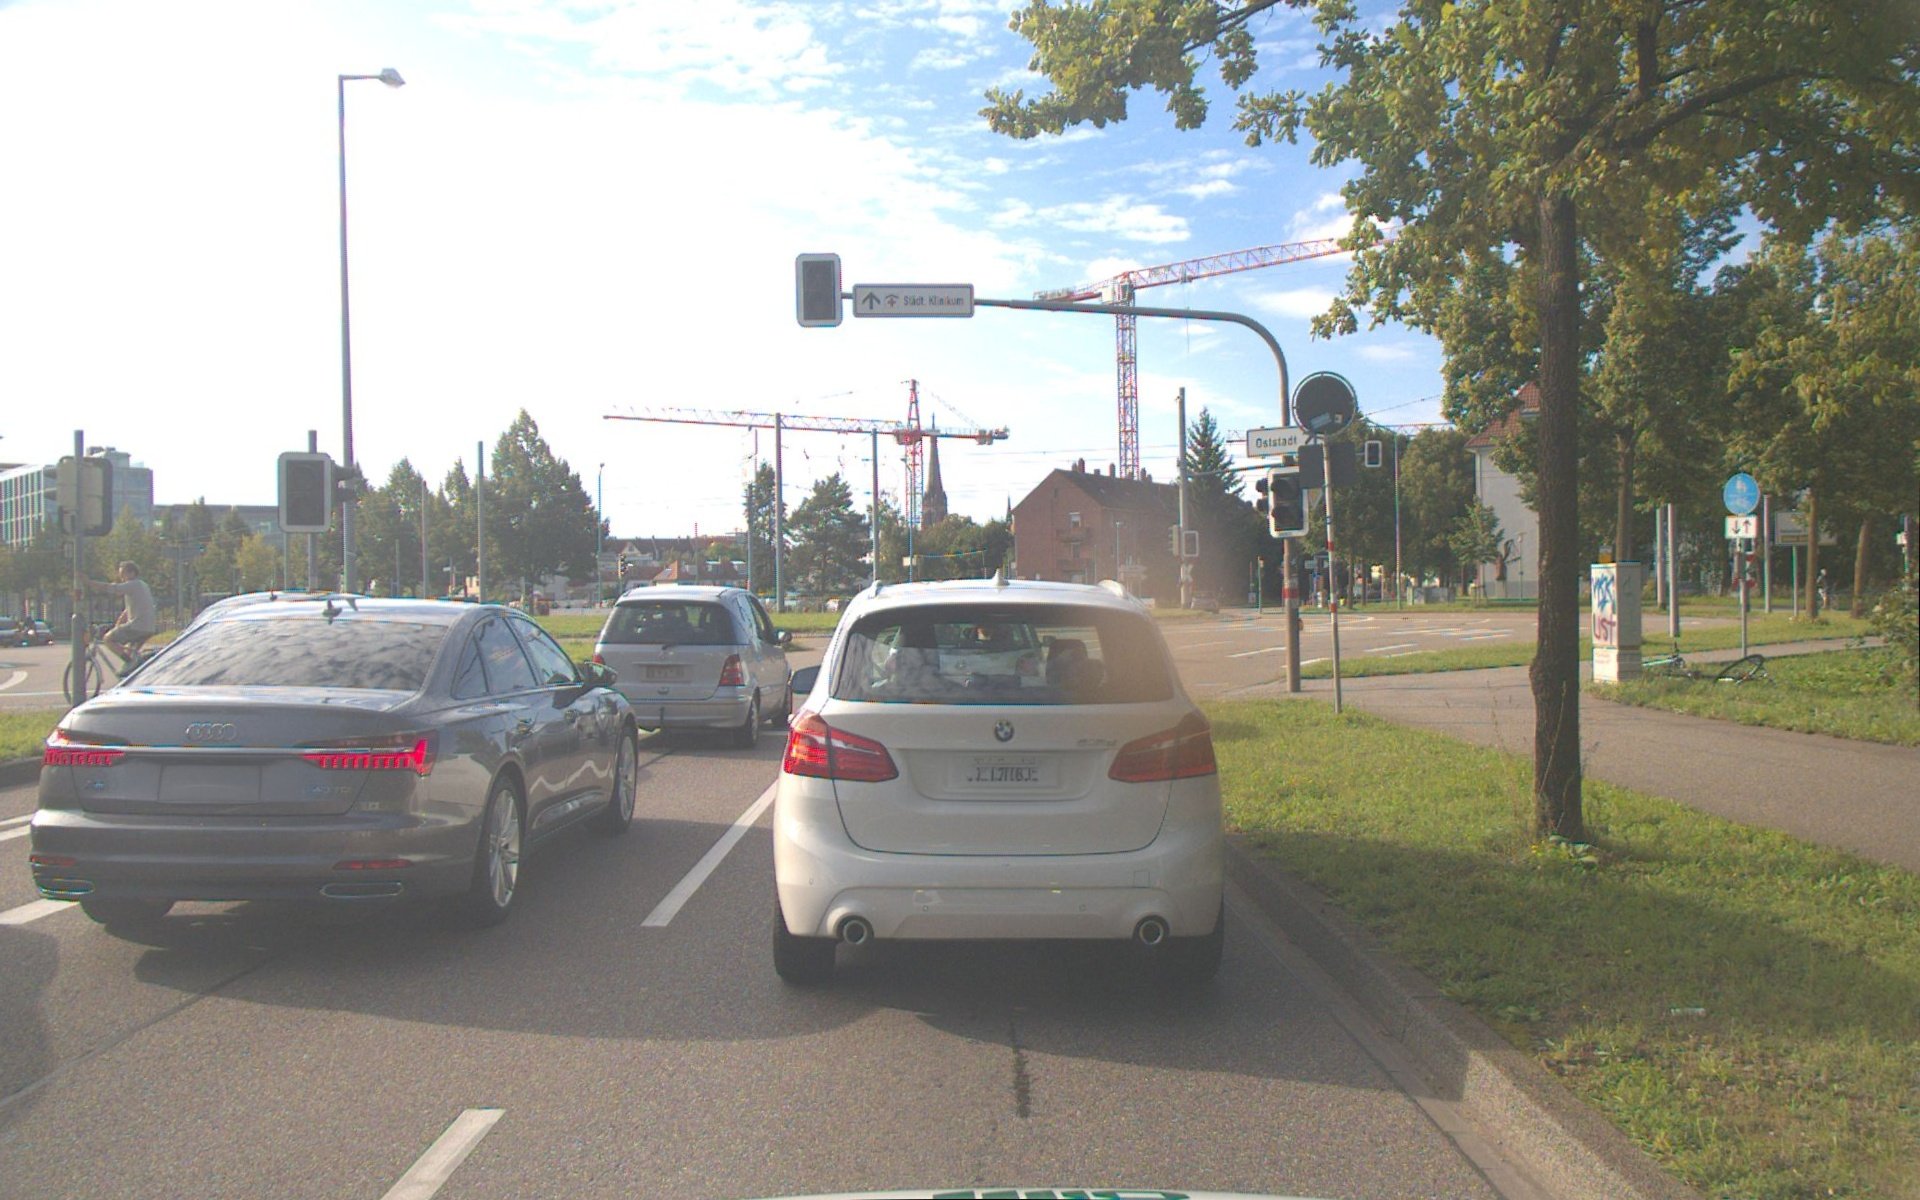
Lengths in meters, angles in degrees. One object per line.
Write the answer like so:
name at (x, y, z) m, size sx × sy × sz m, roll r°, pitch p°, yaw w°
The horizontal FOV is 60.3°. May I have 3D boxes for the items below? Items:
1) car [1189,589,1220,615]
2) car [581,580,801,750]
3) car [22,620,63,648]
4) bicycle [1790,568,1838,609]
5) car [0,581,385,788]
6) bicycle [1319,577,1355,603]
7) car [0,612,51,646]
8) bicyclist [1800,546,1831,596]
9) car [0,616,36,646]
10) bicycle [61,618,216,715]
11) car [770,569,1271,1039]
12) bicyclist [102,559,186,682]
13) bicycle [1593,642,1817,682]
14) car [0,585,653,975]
car at (16.466, 0.135, 111.423) m, size 1.536 × 1.601 × 3.200 m, roll -2°, pitch 1°, yaw 17°
car at (-2.716, 0.603, 17.555) m, size 1.694 × 1.585 × 4.057 m, roll 0°, pitch 0°, yaw -1°
car at (-50.989, 1.897, 91.959) m, size 1.570 × 1.440 × 3.644 m, roll 0°, pitch -2°, yaw -23°
bicycle at (35.784, -0.490, 69.308) m, size 1.020 × 1.691 × 2.498 m, roll 1°, pitch 0°, yaw 9°
car at (-6.429, 0.631, 14.297) m, size 1.646 × 1.549 × 3.809 m, roll 0°, pitch 0°, yaw -1°
bicycle at (23.301, -0.596, 102.211) m, size 0.884 × 1.557 × 2.266 m, roll 2°, pitch -1°, yaw -30°
car at (-46.908, 1.434, 82.741) m, size 1.759 × 1.602 × 3.979 m, roll -1°, pitch 0°, yaw -18°
bicyclist at (35.768, -1.213, 69.162) m, size 0.822 × 2.049 × 1.143 m, roll 0°, pitch 0°, yaw 9°
car at (-58.132, 1.897, 101.304) m, size 1.700 × 1.721 × 3.934 m, roll -1°, pitch 0°, yaw -45°
bicycle at (-10.643, 0.847, 21.477) m, size 1.698 × 1.184 × 0.653 m, roll -1°, pitch 0°, yaw -17°
car at (0.175, 0.684, 7.627) m, size 1.694 × 1.585 × 4.057 m, roll 0°, pitch 0°, yaw -1°
bicyclist at (-10.602, 0.263, 21.515) m, size 0.835 × 1.553 × 0.737 m, roll -1°, pitch 0°, yaw -17°
bicycle at (9.487, 0.778, 21.229) m, size 1.382 × 0.392 × 2.569 m, roll -1°, pitch 0°, yaw -12°
car at (-2.941, 0.710, 8.738) m, size 1.851 × 1.509 × 4.612 m, roll 0°, pitch 0°, yaw -1°
